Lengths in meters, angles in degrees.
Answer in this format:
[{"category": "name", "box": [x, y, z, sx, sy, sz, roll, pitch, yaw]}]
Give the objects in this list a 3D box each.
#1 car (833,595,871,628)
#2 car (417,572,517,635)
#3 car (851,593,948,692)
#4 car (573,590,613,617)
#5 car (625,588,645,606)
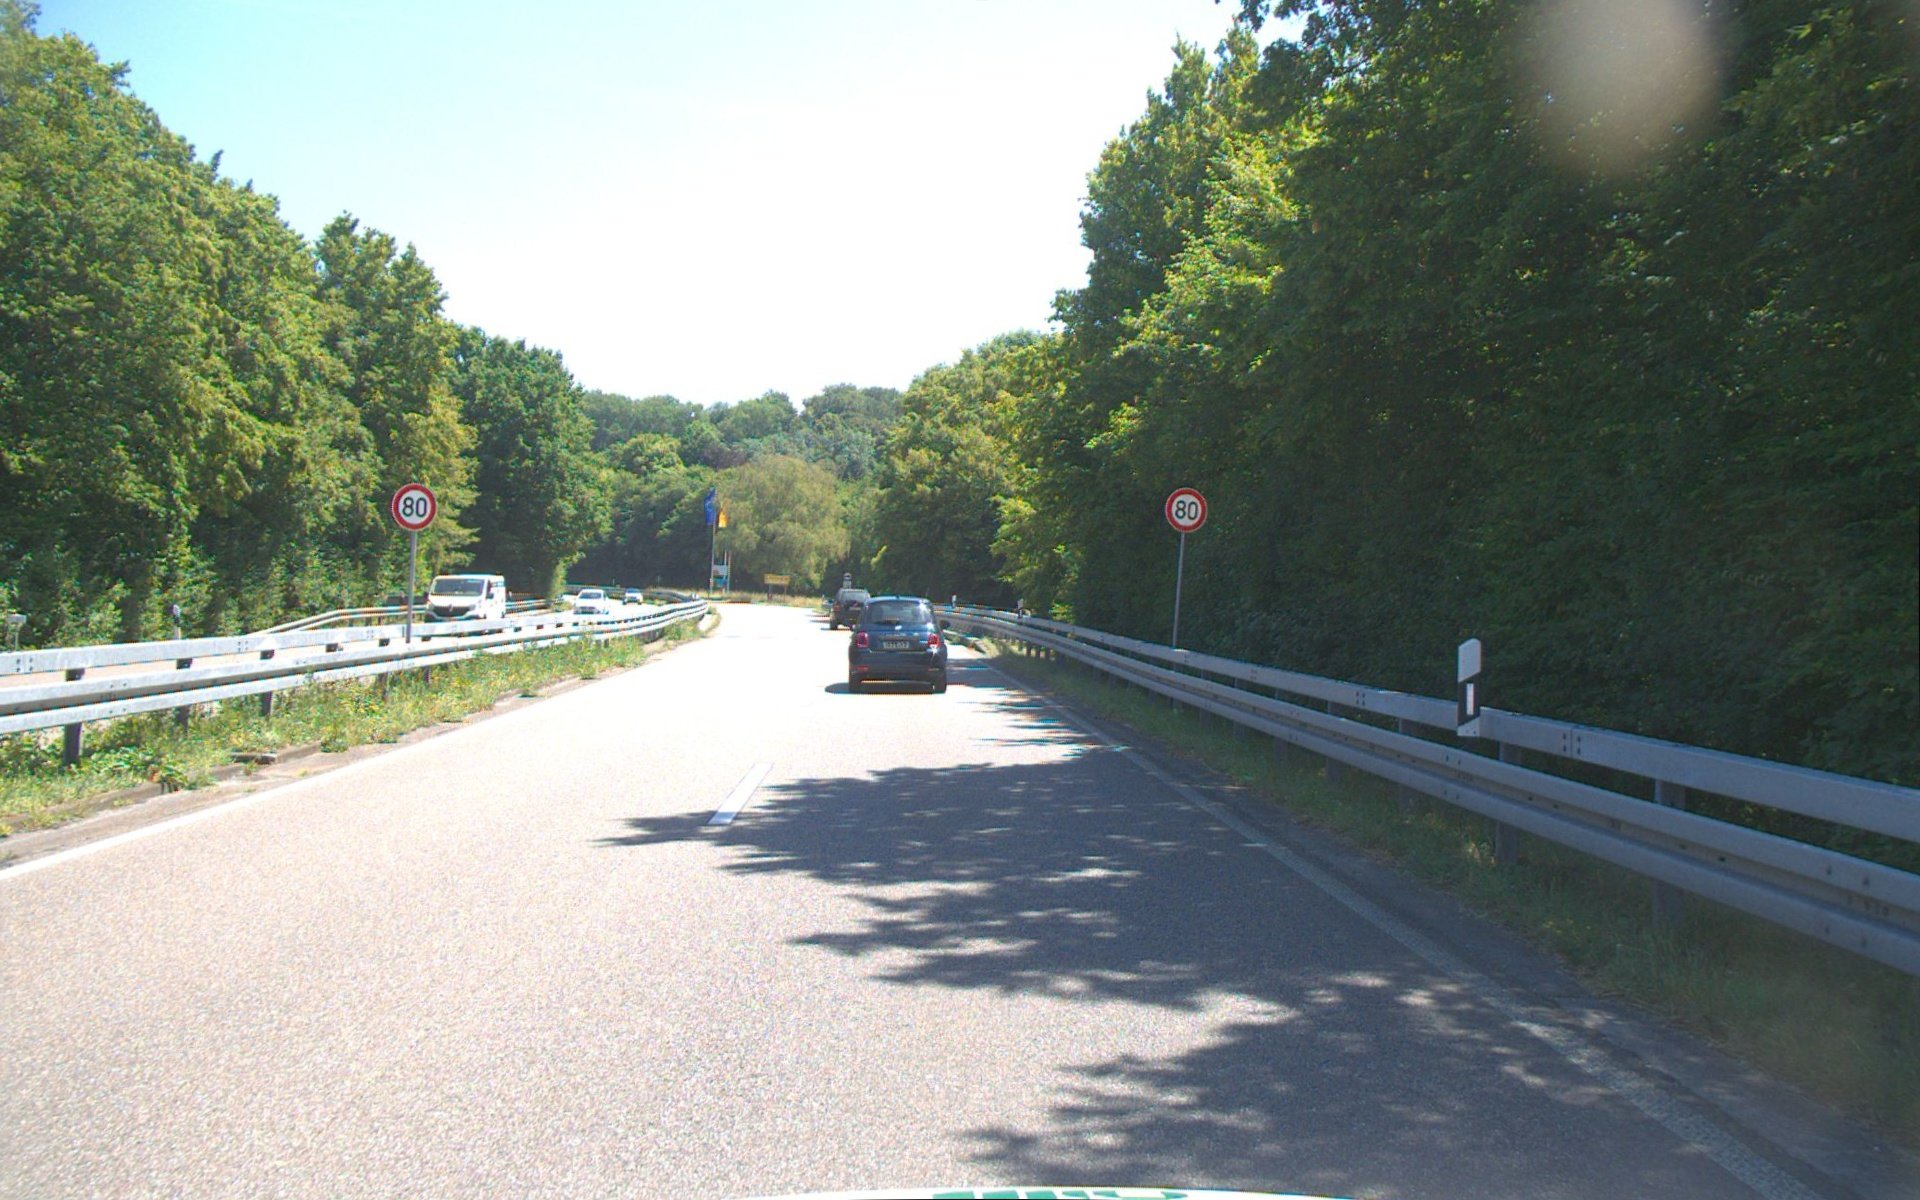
[{"category": "car", "box": [-4.541, 0.467, 69.216, 1.495, 1.336, 3.411, 0, 0, -6]}, {"category": "car", "box": [-16.395, 0.098, 55.300, 1.950, 1.985, 5.636, 0, 0, -3]}, {"category": "car", "box": [-0.987, 0.650, 27.431, 1.483, 1.527, 3.589, 0, 0, -2]}, {"category": "car", "box": [-20.253, 0.189, 91.366, 1.619, 1.472, 4.215, 0, 0, -5]}, {"category": "car", "box": [-31.736, -0.300, 161.600, 1.620, 1.634, 4.212, 0, 0, -8]}]
